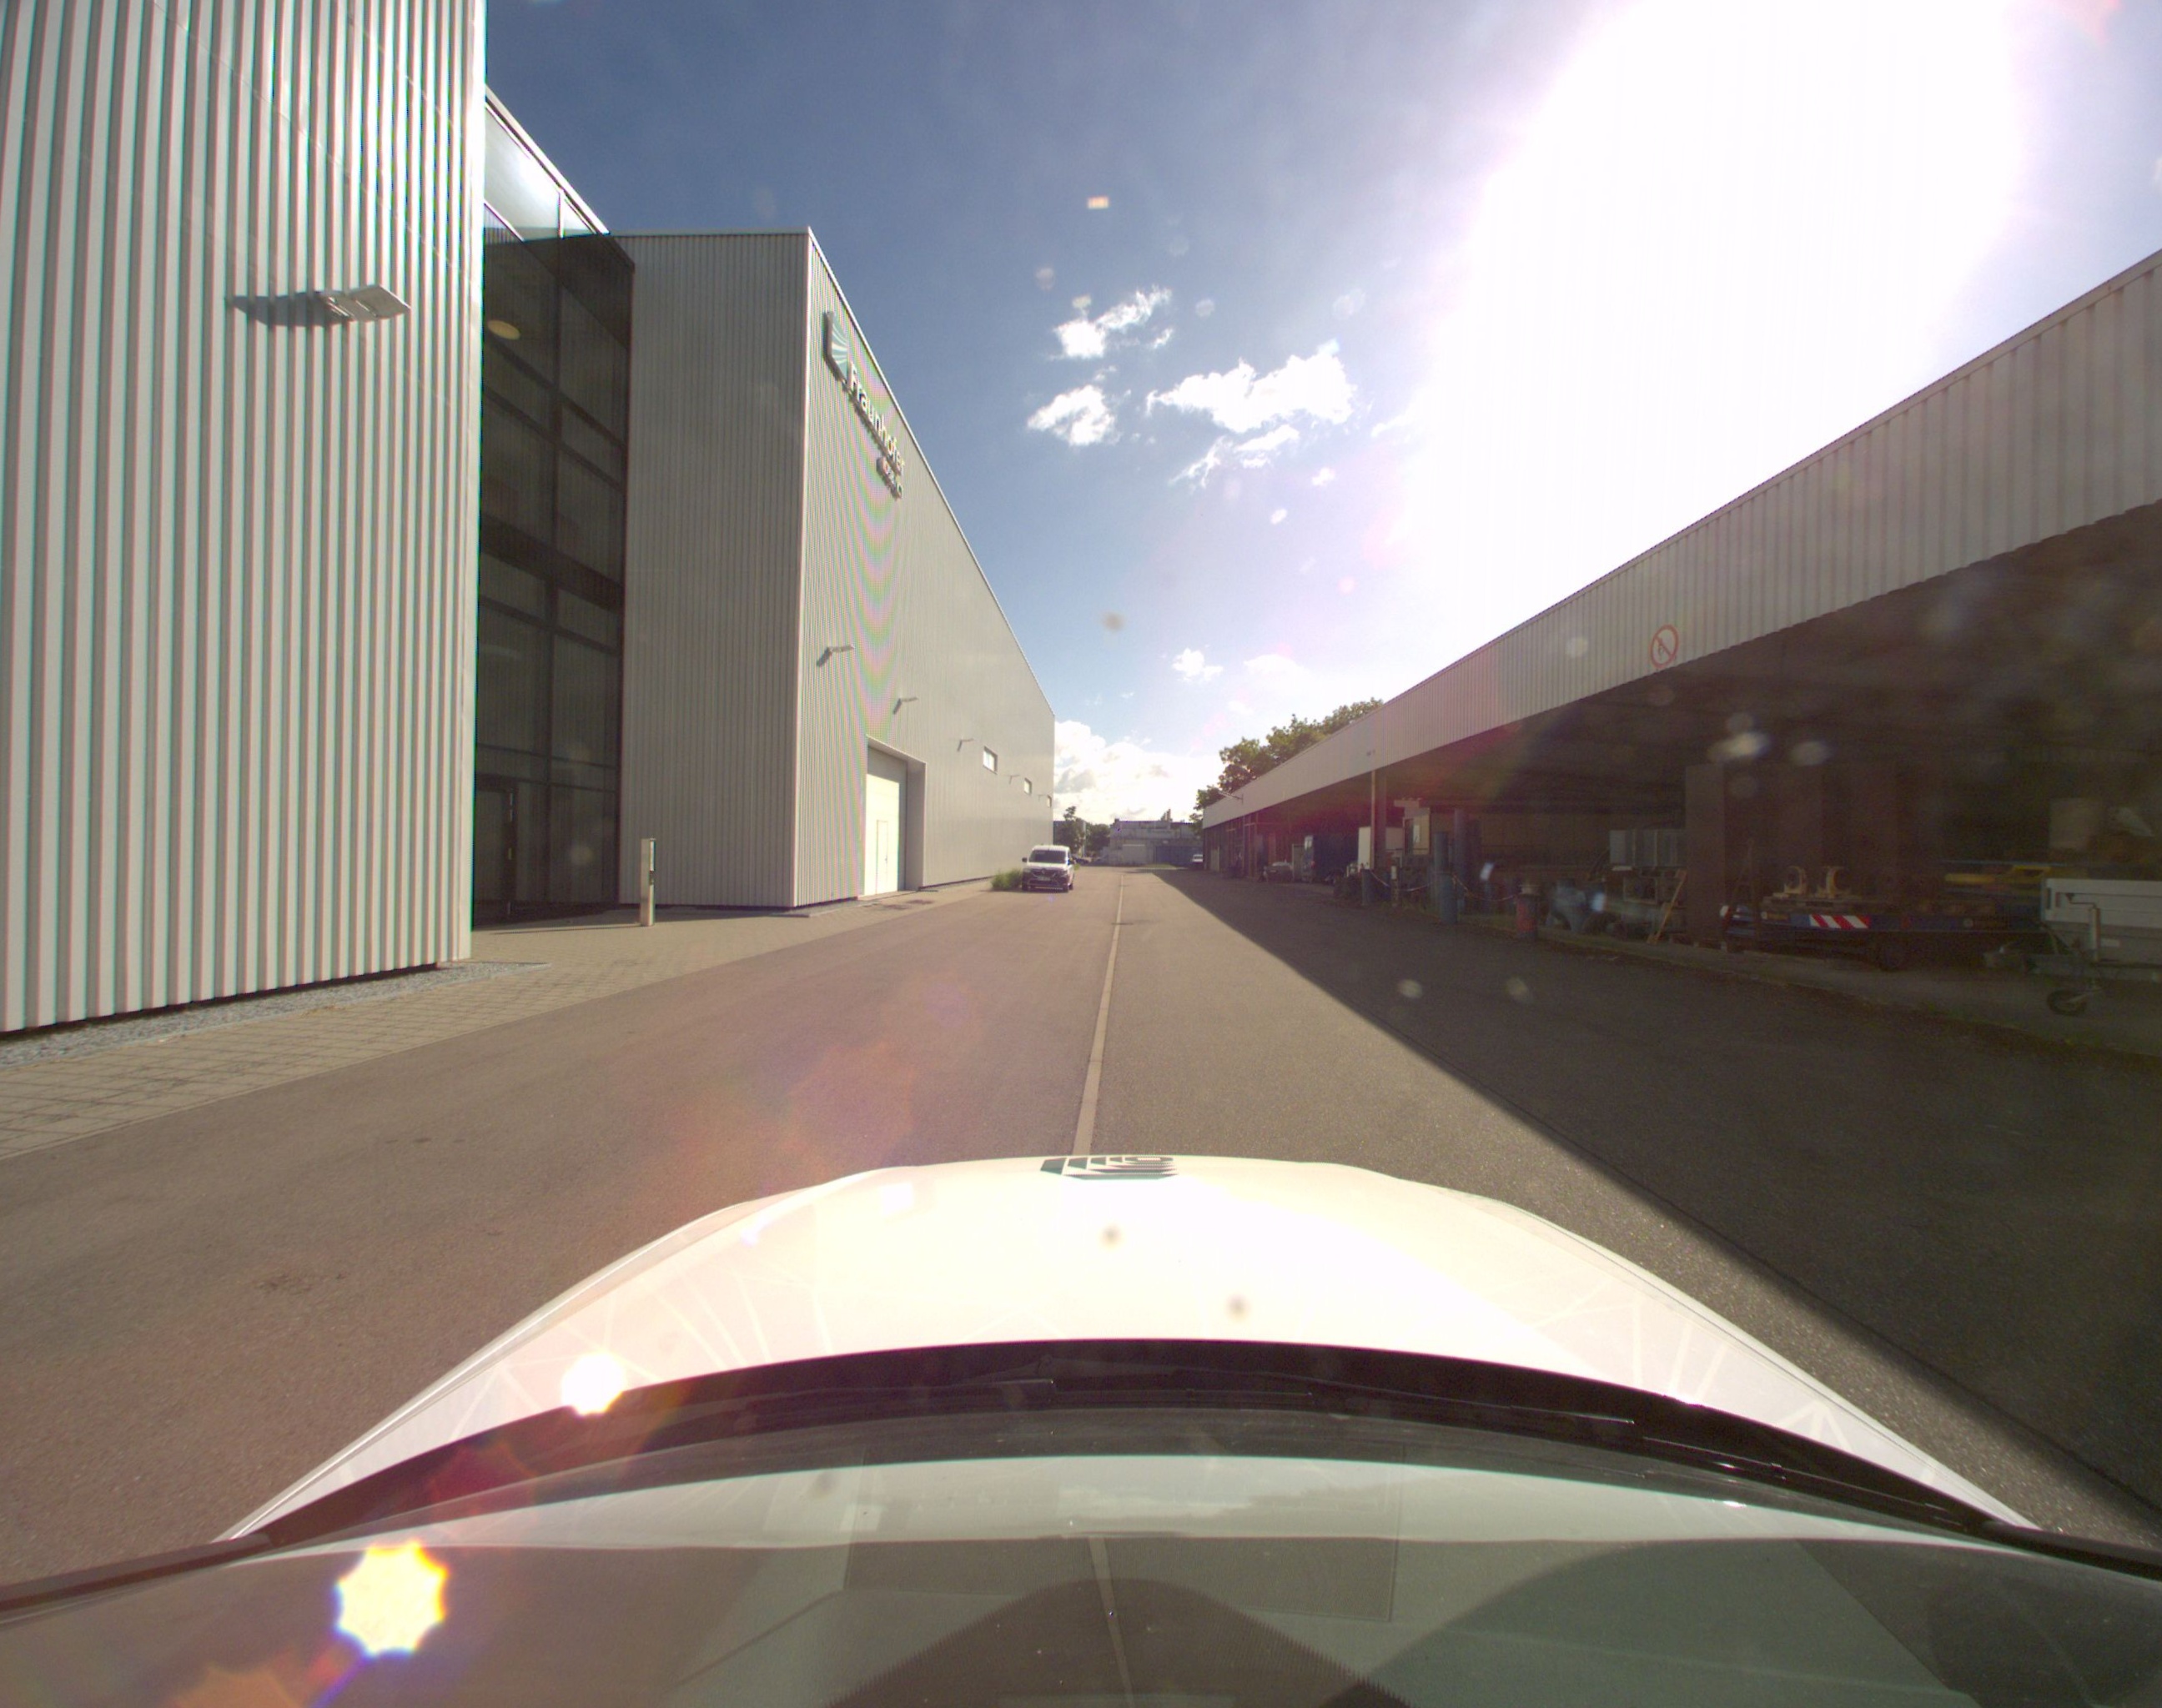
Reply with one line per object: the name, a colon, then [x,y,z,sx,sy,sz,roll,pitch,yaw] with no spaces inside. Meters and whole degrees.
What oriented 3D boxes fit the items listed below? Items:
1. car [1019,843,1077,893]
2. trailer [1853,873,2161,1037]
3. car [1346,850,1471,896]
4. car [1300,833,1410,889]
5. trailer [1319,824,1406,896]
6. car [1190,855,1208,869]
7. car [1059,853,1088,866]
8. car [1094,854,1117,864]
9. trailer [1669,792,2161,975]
car: [-1.245,0.503,32.429,1.811,1.787,4.409,2,0,4]
trailer: [10.507,0.761,6.950,5.827,1.133,2.142,0,0,1]
car: [12.262,0.728,30.647,4.020,1.525,1.686,2,-2,3]
car: [12.437,0.354,37.174,4.413,2.310,1.917,2,-2,3]
trailer: [9.796,0.204,28.488,2.512,2.399,1.728,1,-1,4]
car: [14.675,0.946,101.657,1.953,1.564,4.064,2,0,5]
car: [-1.070,0.834,114.776,3.972,1.598,1.742,2,-2,1]
car: [4.252,0.872,142.474,3.972,1.598,1.848,2,-2,1]
trailer: [10.988,0.324,10.146,5.740,2.032,2.080,0,0,4]
